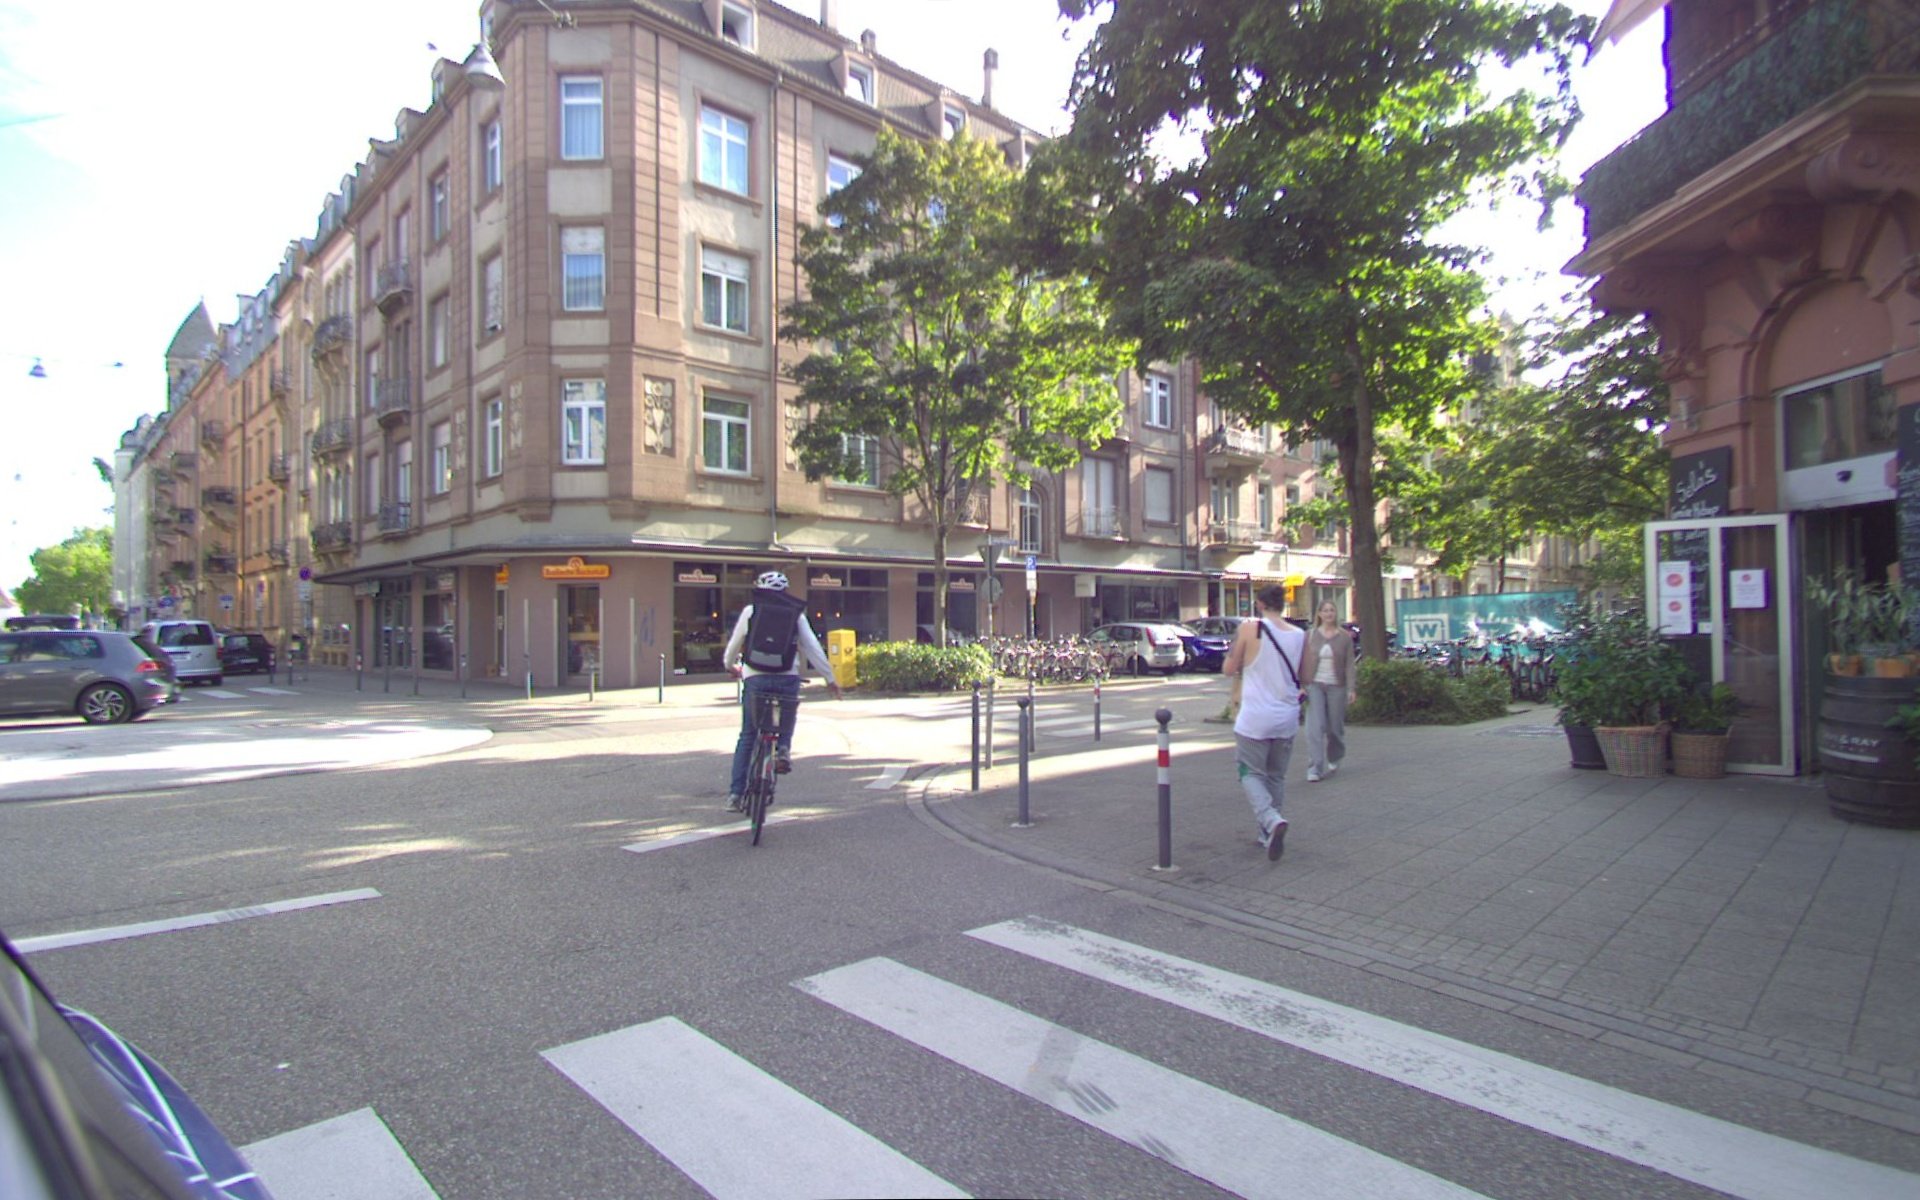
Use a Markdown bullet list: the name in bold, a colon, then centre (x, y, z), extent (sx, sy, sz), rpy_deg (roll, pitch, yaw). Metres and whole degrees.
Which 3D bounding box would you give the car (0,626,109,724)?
- **car**: centre (-17.901, 1.362, 19.176), extent (1.912, 1.609, 4.850), rpy_deg (-2, 0, -31)

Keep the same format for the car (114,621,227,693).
- **car**: centre (-21.990, 1.579, 28.131), extent (4.330, 1.804, 1.809), rpy_deg (-3, -2, 43)

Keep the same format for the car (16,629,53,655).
- **car**: centre (-73.211, 3.315, 80.034), extent (1.916, 1.894, 4.839), rpy_deg (-1, -1, -45)

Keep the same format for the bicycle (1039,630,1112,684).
- **bicycle**: centre (2.790, 1.335, 24.282), extent (0.479, 1.234, 2.261), rpy_deg (-2, -2, 43)

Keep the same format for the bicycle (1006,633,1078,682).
- **bicycle**: centre (2.046, 1.390, 25.034), extent (0.479, 1.143, 2.231), rpy_deg (-2, -2, 43)

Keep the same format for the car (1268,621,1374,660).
- **car**: centre (12.961, 1.470, 36.456), extent (1.356, 1.342, 3.342), rpy_deg (3, -4, -43)

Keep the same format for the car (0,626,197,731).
- **car**: centre (-13.984, 1.176, 15.062), extent (3.931, 1.449, 1.803), rpy_deg (0, -4, -27)

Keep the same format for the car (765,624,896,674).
- **car**: centre (-4.098, 1.531, 31.833), extent (3.993, 1.441, 1.745), rpy_deg (-2, -1, 37)

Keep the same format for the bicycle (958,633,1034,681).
- **bicycle**: centre (0.952, 1.430, 25.935), extent (0.479, 1.143, 2.397), rpy_deg (-2, -2, 43)

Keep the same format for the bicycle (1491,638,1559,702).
- **bicycle**: centre (9.817, 1.190, 17.545), extent (0.591, 1.019, 2.049), rpy_deg (-4, -4, 40)

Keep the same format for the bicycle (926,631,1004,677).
- **bicycle**: centre (0.150, 1.412, 26.709), extent (0.580, 1.143, 2.397), rpy_deg (-2, -2, 43)

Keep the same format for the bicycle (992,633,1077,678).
- **bicycle**: centre (1.958, 1.425, 26.320), extent (2.476, 1.110, 0.709), rpy_deg (1, -4, -44)

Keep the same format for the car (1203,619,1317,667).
- **car**: centre (9.882, 1.420, 33.456), extent (1.356, 1.454, 3.342), rpy_deg (-1, -1, -43)

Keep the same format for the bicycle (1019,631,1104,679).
- **bicycle**: centre (2.623, 1.396, 25.910), extent (2.475, 1.110, 0.651), rpy_deg (-1, -2, -43)

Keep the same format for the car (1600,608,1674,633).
- **car**: centre (43.740, 1.353, 65.409), extent (3.715, 1.483, 1.780), rpy_deg (-3, -1, 42)

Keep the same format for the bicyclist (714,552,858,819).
- **bicyclist**: centre (-1.239, 0.563, 7.073), extent (0.690, 1.690, 1.116), rpy_deg (1, -3, -26)

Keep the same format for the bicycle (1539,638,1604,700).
- **bicycle**: centre (10.542, 1.164, 17.421), extent (0.591, 0.976, 2.049), rpy_deg (-4, -4, 40)

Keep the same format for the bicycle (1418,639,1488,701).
- **bicycle**: centre (8.875, 1.237, 18.183), extent (0.591, 1.019, 2.049), rpy_deg (-4, -4, 40)

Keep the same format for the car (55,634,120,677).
- **car**: centre (-37.061, 2.320, 42.948), extent (1.969, 1.647, 4.849), rpy_deg (0, -2, -42)

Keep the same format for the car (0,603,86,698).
- **car**: centre (-21.926, 1.176, 24.015), extent (1.766, 2.079, 4.006), rpy_deg (1, -2, -41)

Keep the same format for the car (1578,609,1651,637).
- **car**: centre (39.239, 1.374, 60.728), extent (1.572, 1.605, 3.363), rpy_deg (-1, -1, -42)

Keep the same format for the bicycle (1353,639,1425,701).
- **bicycle**: centre (7.974, 1.279, 18.771), extent (0.591, 1.038, 2.049), rpy_deg (-4, -4, 40)

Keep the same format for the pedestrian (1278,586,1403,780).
- **pedestrian**: centre (3.305, 0.701, 8.793), extent (0.798, 1.590, 0.615), rpy_deg (0, -5, -43)

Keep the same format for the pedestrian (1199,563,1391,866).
- **pedestrian**: centre (1.989, 0.644, 6.152), extent (0.793, 1.683, 1.023), rpy_deg (0, -1, -1)

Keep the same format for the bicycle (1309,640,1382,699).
- **bicycle**: centre (7.378, 1.307, 19.325), extent (0.591, 1.038, 2.113), rpy_deg (-4, -4, 40)

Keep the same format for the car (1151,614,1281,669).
- **car**: centre (8.011, 1.299, 31.927), extent (1.553, 1.608, 3.703), rpy_deg (-1, -1, -43)

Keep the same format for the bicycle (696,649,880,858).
- **bicycle**: centre (-1.285, 0.969, 7.150), extent (0.690, 1.229, 2.123), rpy_deg (1, -3, -26)

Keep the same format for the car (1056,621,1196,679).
- **car**: centre (4.633, 1.389, 28.600), extent (1.553, 1.488, 3.703), rpy_deg (-1, -1, -43)

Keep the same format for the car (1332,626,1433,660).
- **car**: centre (16.312, 1.681, 39.137), extent (1.356, 1.263, 3.342), rpy_deg (3, -4, -43)

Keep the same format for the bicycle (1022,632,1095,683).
- **bicycle**: centre (2.428, 1.376, 24.674), extent (0.479, 1.166, 2.259), rpy_deg (-2, -2, 43)

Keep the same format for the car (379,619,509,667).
- **car**: centre (-19.709, 1.634, 38.754), extent (1.997, 1.633, 3.950), rpy_deg (-3, -1, 37)

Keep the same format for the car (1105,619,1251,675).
- **car**: centre (6.401, 1.377, 30.056), extent (1.553, 1.488, 4.078), rpy_deg (-1, -1, -43)

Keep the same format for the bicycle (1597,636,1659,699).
- **bicycle**: centre (11.405, 1.134, 17.263), extent (0.591, 0.976, 2.049), rpy_deg (-4, -4, 40)

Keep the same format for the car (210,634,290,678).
- **car**: centre (-24.519, 1.910, 34.894), extent (1.699, 1.379, 3.833), rpy_deg (-1, -1, -43)

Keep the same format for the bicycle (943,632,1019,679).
- **bicycle**: centre (0.567, 1.417, 26.311), extent (0.479, 1.143, 2.397), rpy_deg (-2, -2, 43)

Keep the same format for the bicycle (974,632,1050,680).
- **bicycle**: centre (1.338, 1.391, 25.585), extent (0.479, 1.143, 2.397), rpy_deg (-2, -2, 43)

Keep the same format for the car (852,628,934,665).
- **car**: centre (-3.136, 2.160, 47.629), extent (3.577, 1.578, 1.581), rpy_deg (-1, -1, -42)
